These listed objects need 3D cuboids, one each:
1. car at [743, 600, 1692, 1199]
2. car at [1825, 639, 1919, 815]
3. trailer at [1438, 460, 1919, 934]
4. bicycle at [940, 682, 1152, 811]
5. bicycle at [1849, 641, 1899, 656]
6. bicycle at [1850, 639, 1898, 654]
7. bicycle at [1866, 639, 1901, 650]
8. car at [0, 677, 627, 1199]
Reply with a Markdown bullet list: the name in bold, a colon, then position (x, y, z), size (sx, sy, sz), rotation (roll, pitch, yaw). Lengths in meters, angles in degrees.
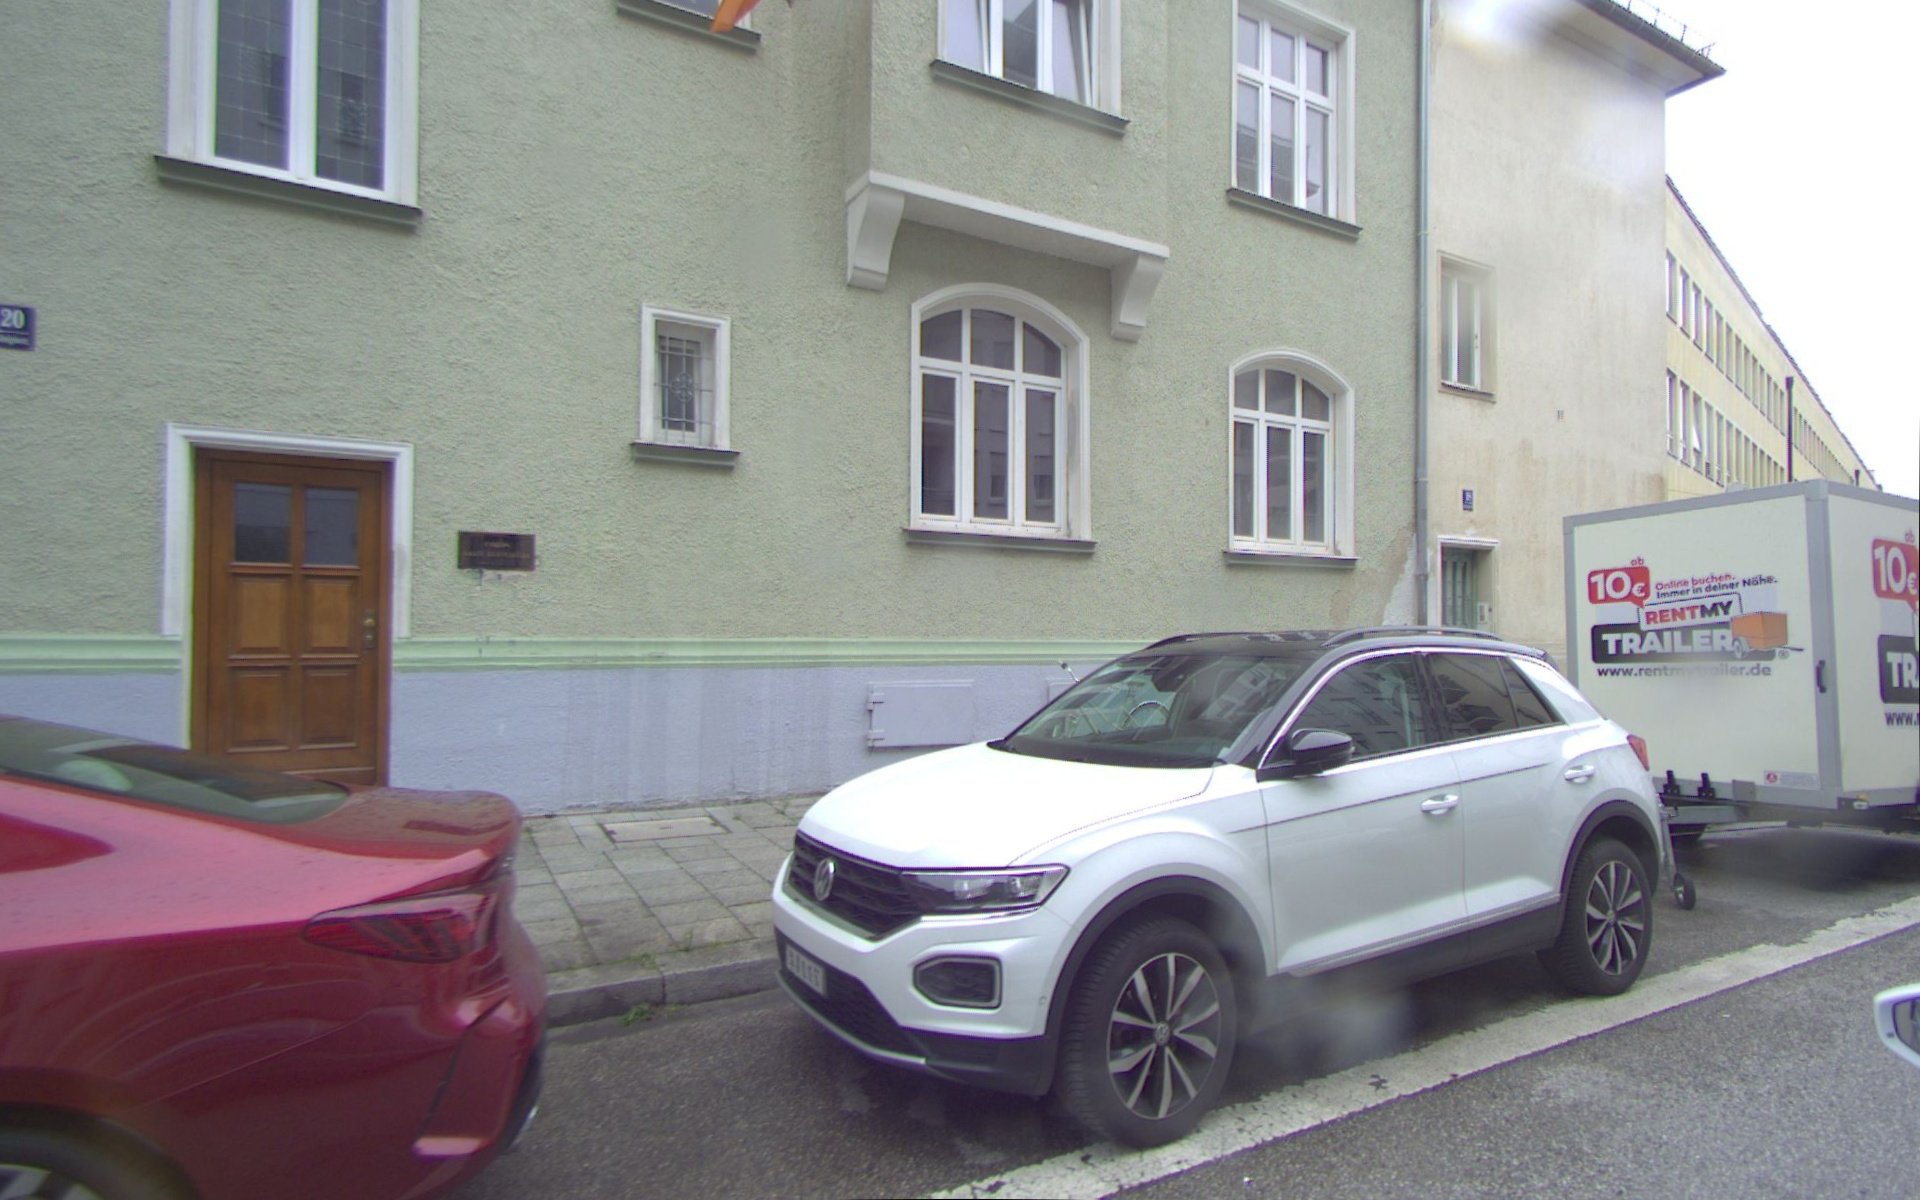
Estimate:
- **car**: position (1.211, 0.895, 4.287), size (3.876, 1.623, 1.679), rotation (1, -4, -31)
- **car**: position (10.630, 1.169, 9.798), size (4.483, 1.558, 1.760), rotation (1, -4, -28)
- **trailer**: position (5.598, 0.577, 7.057), size (4.330, 2.493, 1.704), rotation (1, -3, -27)
- **bicycle**: position (0.777, 1.220, 8.707), size (1.909, 0.919, 0.519), rotation (1, 1, -34)
- **bicycle**: position (54.022, 2.838, 59.414), size (2.181, 0.846, 0.492), rotation (-1, -3, 42)
- **bicycle**: position (54.486, 2.750, 59.925), size (2.095, 0.846, 0.644), rotation (-1, -3, 42)
- **bicycle**: position (61.814, 2.978, 67.261), size (1.718, 0.724, 0.611), rotation (-1, -3, 42)
- **car**: position (-3.040, 0.887, 1.904), size (4.284, 1.431, 1.852), rotation (2, -4, -31)
